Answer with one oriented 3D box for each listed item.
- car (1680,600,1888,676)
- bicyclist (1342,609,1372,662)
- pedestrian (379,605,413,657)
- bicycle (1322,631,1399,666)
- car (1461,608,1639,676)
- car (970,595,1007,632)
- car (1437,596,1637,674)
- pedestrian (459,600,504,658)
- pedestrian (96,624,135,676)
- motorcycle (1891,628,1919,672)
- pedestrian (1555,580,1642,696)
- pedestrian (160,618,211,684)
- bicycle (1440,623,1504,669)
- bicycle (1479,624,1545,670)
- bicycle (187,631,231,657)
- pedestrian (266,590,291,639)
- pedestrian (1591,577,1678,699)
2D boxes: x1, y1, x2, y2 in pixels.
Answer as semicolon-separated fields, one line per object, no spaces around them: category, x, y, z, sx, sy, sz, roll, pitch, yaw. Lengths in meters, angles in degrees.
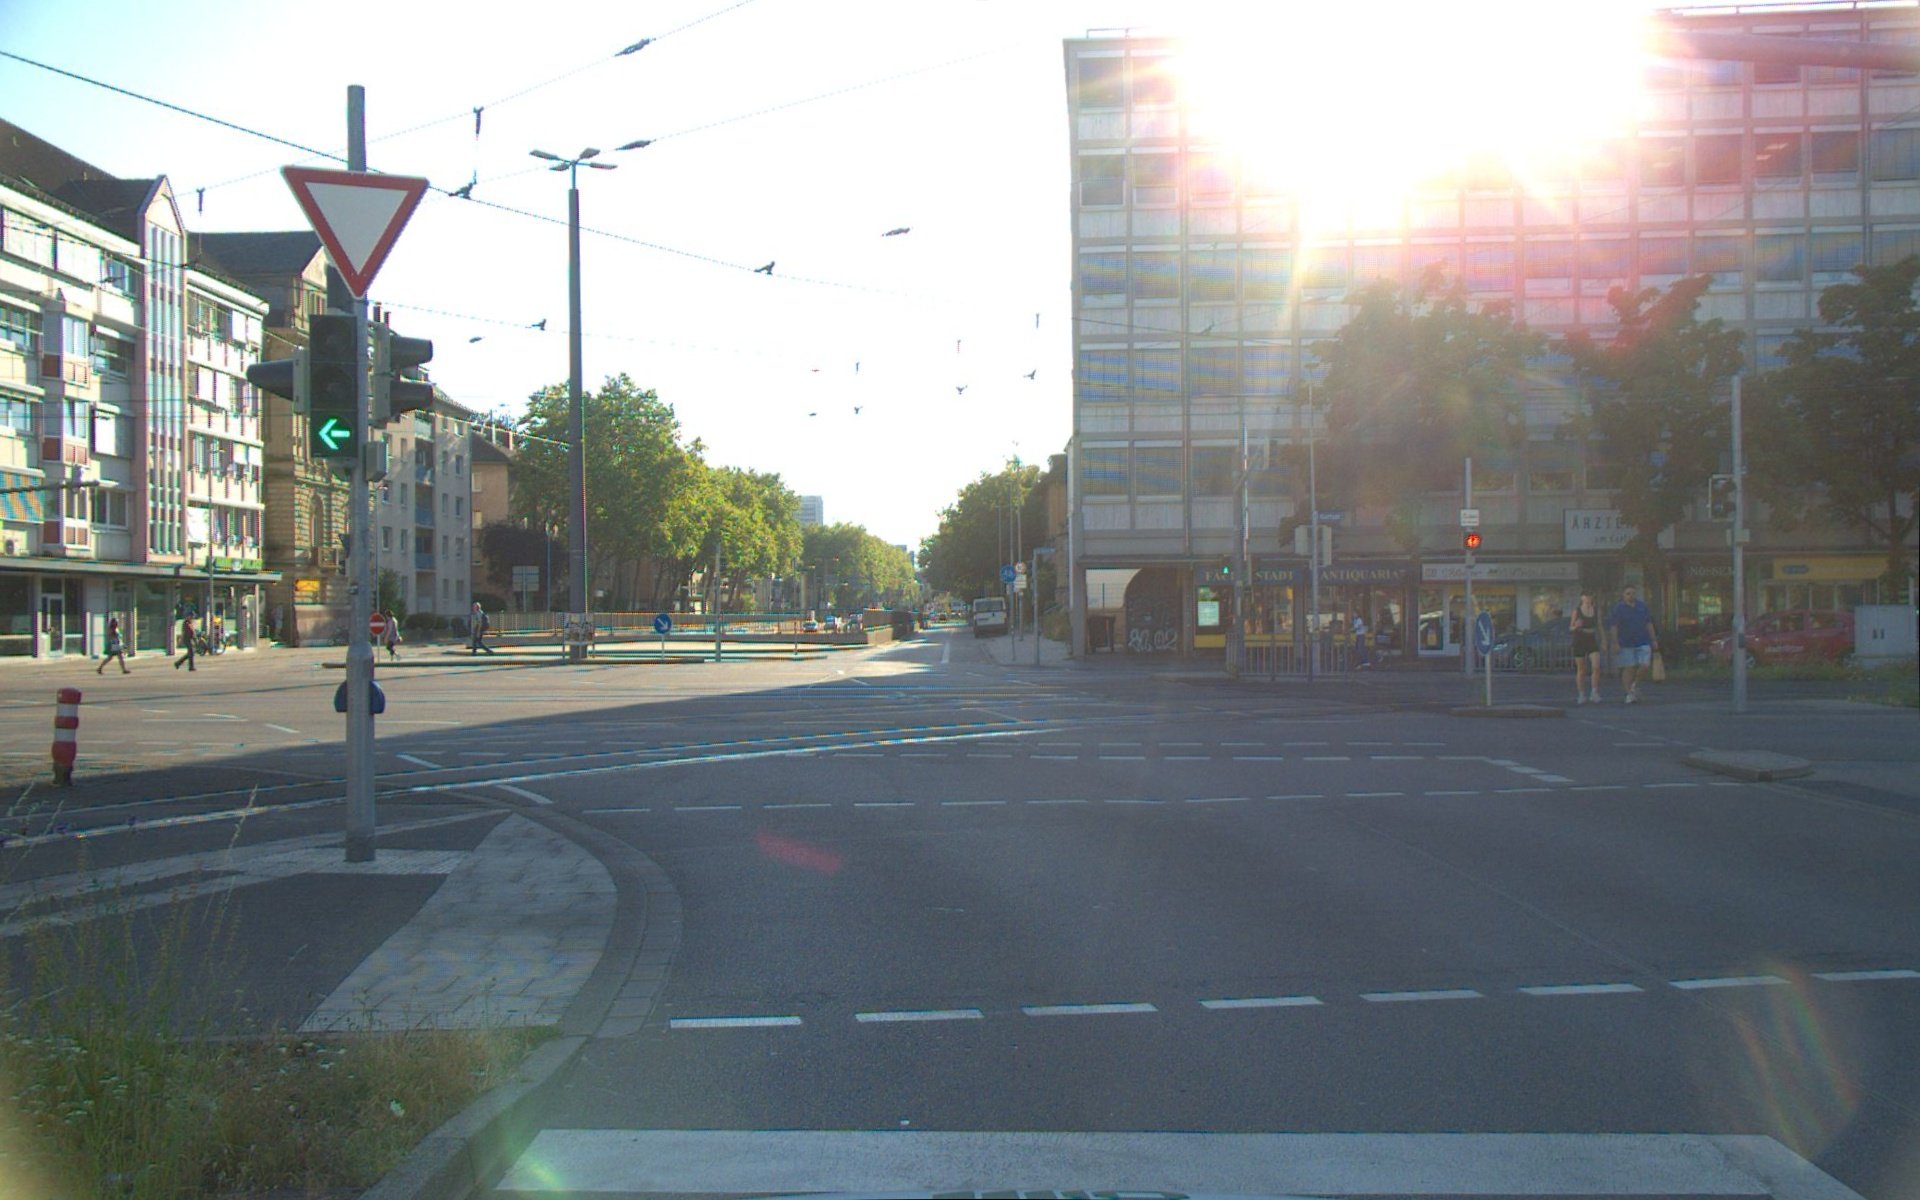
car;19.004;0.872;38.270;3.903;1.646;1.845;1;-1;4
bicyclist;11.146;0.995;46.436;0.665;1.449;0.671;1;-1;-1
pedestrian;-16.899;0.938;49.576;0.844;1.491;0.679;2;-6;-30
bicycle;11.226;1.355;46.431;1.983;0.957;0.671;1;-1;-2
car;15.233;1.067;42.866;3.982;1.646;1.845;1;-1;4
car;1.780;0.833;101.991;2.238;2.210;4.834;1;-1;1
car;12.956;0.787;37.291;3.903;1.646;1.845;1;-1;4
pedestrian;-14.944;0.907;51.684;1.171;1.761;0.855;1;-1;-5
pedestrian;-24.334;1.444;47.677;0.691;1.479;0.855;1;-1;-5
motorcycle;22.958;1.168;38.160;2.606;1.019;0.535;1;-1;4
pedestrian;9.649;0.572;25.008;0.690;1.712;1.028;2;-1;-38
pedestrian;-23.483;1.539;50.181;1.171;1.916;0.856;1;3;-5
bicycle;14.702;1.307;47.571;0.735;1.163;2.638;1;2;-6
bicycle;15.873;1.338;47.633;0.735;1.163;2.638;1;2;-6
bicycle;-32.277;1.898;71.140;0.441;1.089;2.093;1;-1;16
pedestrian;-34.275;0.722;83.222;0.910;2.440;0.958;1;-1;-11
pedestrian;10.334;0.573;25.334;0.690;1.824;1.028;2;-1;-38
